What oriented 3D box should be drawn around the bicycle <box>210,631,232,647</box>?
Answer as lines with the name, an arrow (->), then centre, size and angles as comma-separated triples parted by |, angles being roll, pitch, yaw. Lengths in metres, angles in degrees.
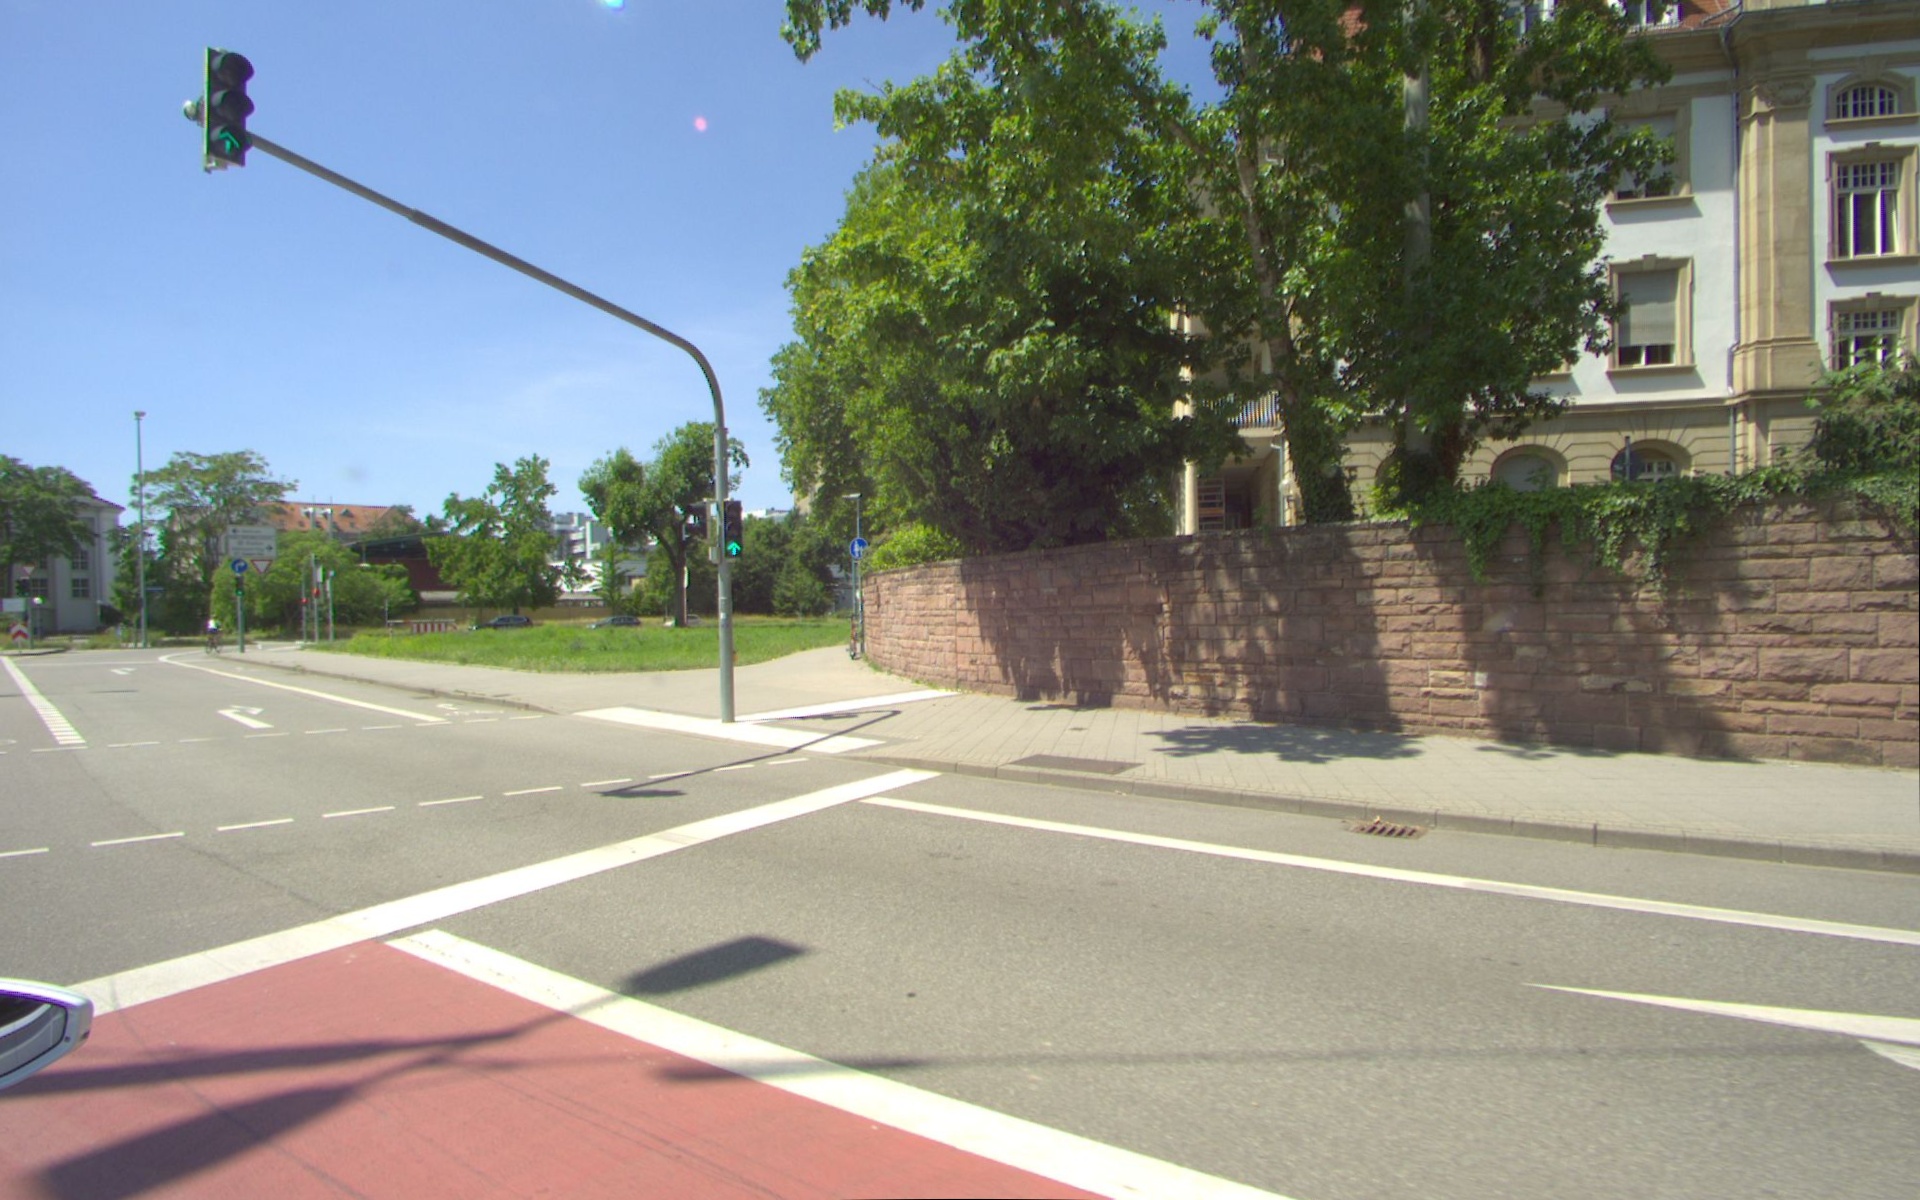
bicycle -> -33.414, 1.747, 45.284 | 0.372, 0.654, 1.639 | -1, 0, -21

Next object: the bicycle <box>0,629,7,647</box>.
bicycle -> -62.106, 2.423, 63.752 | 1.986, 1.150, 0.570 | -1, 0, -34

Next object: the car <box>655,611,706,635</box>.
car -> -23.646, 1.914, 84.837 | 3.958, 1.895, 1.457 | -1, -1, -43

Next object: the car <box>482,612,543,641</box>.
car -> -33.633, 1.968, 75.329 | 3.958, 2.040, 1.457 | -1, -1, -43

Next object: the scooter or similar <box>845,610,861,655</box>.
scooter or similar -> -2.891, 0.884, 27.197 | 0.269, 1.178, 1.467 | -2, -1, -1

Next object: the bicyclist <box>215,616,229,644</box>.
bicyclist -> -33.395, 1.335, 45.330 | 0.347, 1.244, 0.562 | -1, 1, -22
